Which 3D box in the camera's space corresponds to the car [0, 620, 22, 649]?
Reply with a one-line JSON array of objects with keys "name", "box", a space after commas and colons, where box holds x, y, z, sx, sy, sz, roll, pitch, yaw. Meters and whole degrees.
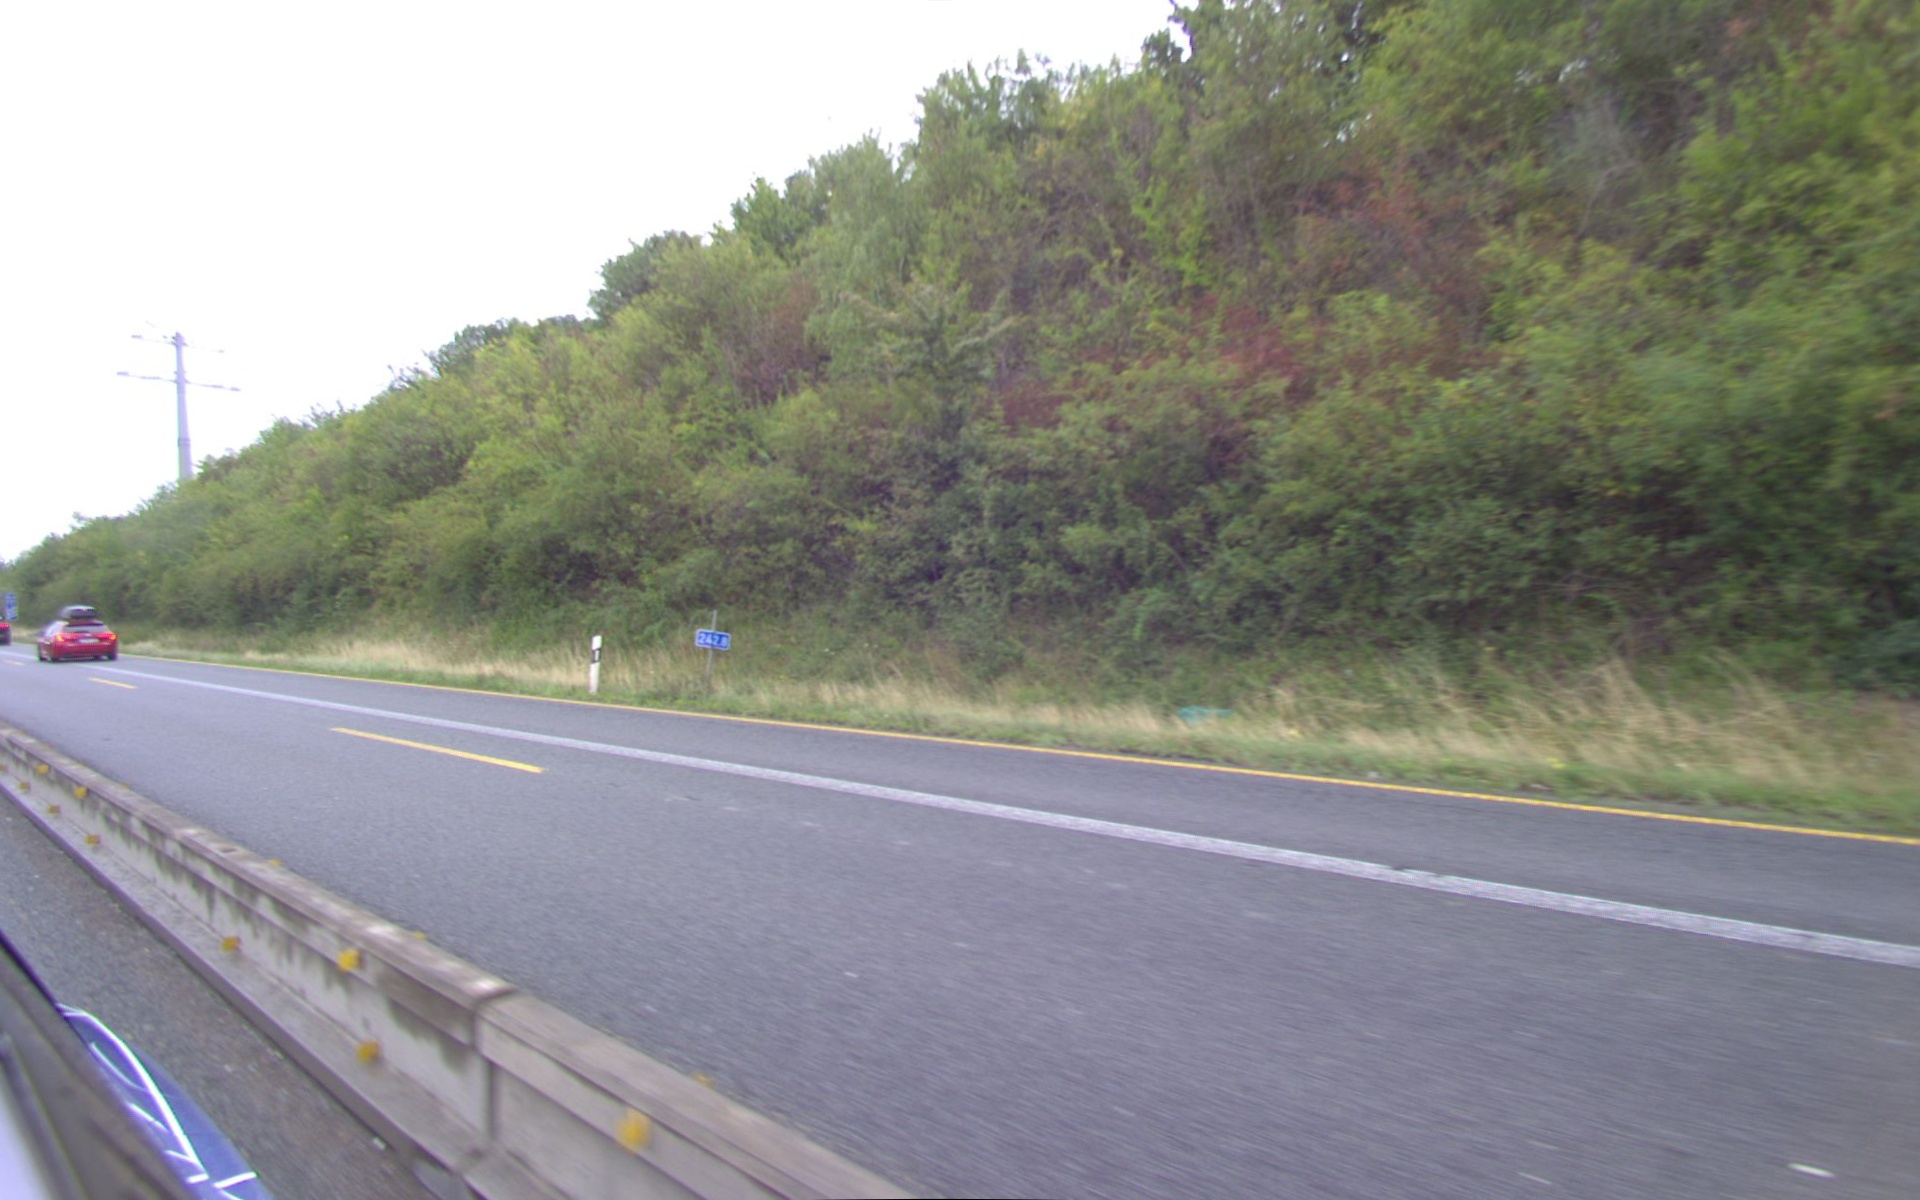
[{"name": "car", "box": [-55.858, 2.008, 58.642, 3.998, 1.615, 1.851, -1, 0, 41]}]

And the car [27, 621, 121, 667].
[{"name": "car", "box": [-30.868, 1.474, 35.214, 4.445, 1.462, 1.756, -1, 0, 39]}]
